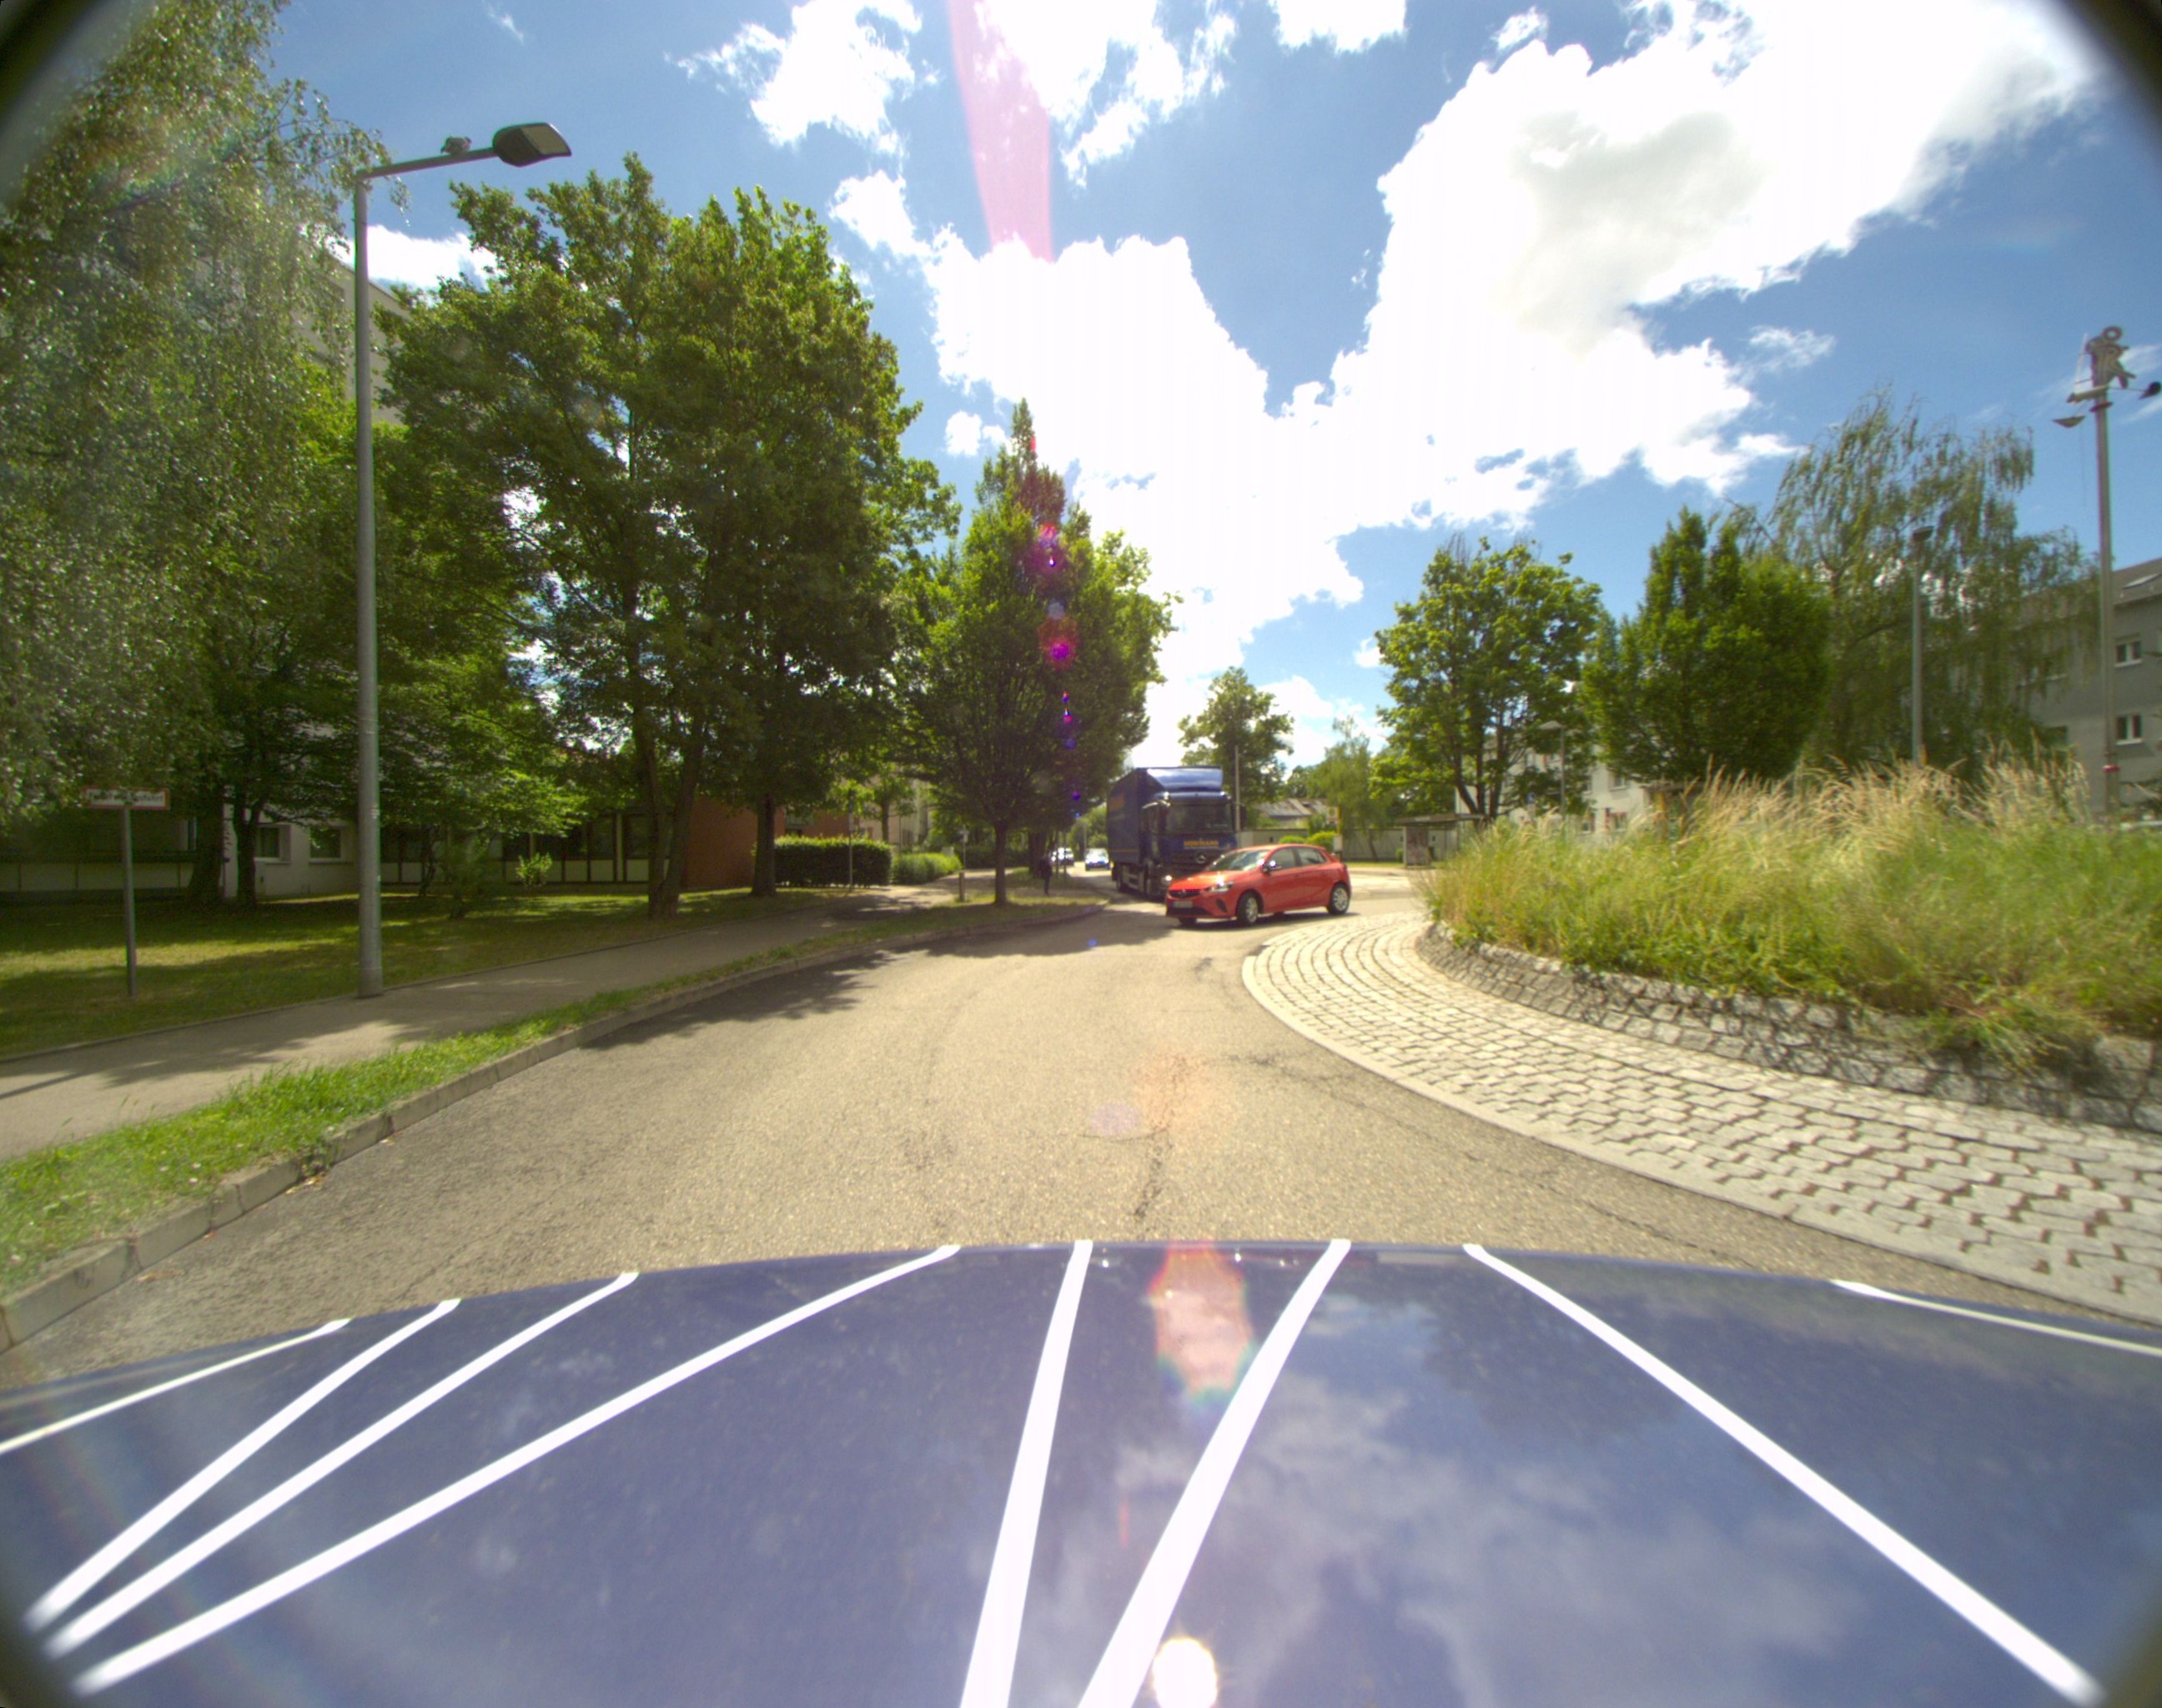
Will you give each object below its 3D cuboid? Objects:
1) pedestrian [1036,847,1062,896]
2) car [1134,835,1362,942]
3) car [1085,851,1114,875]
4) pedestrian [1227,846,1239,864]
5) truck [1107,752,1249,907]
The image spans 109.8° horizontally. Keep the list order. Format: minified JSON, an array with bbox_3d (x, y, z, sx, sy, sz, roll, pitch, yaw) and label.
[{"bbox_3d":[-1.048,0.565,25.133,0.720,1.570,0.841,-1,3,3],"label":"pedestrian"},{"bbox_3d":[3.227,0.598,14.509,4.005,1.548,1.763,-5,0,-30],"label":"car"},{"bbox_3d":[1.346,0.725,55.824,1.998,1.665,4.001,0,-2,1],"label":"car"},{"bbox_3d":[13.575,0.121,67.793,0.902,1.572,0.660,-1,1,2],"label":"pedestrian"},{"bbox_3d":[2.781,-0.578,25.288,2.788,4.127,9.796,-1,-1,-4],"label":"truck"}]
